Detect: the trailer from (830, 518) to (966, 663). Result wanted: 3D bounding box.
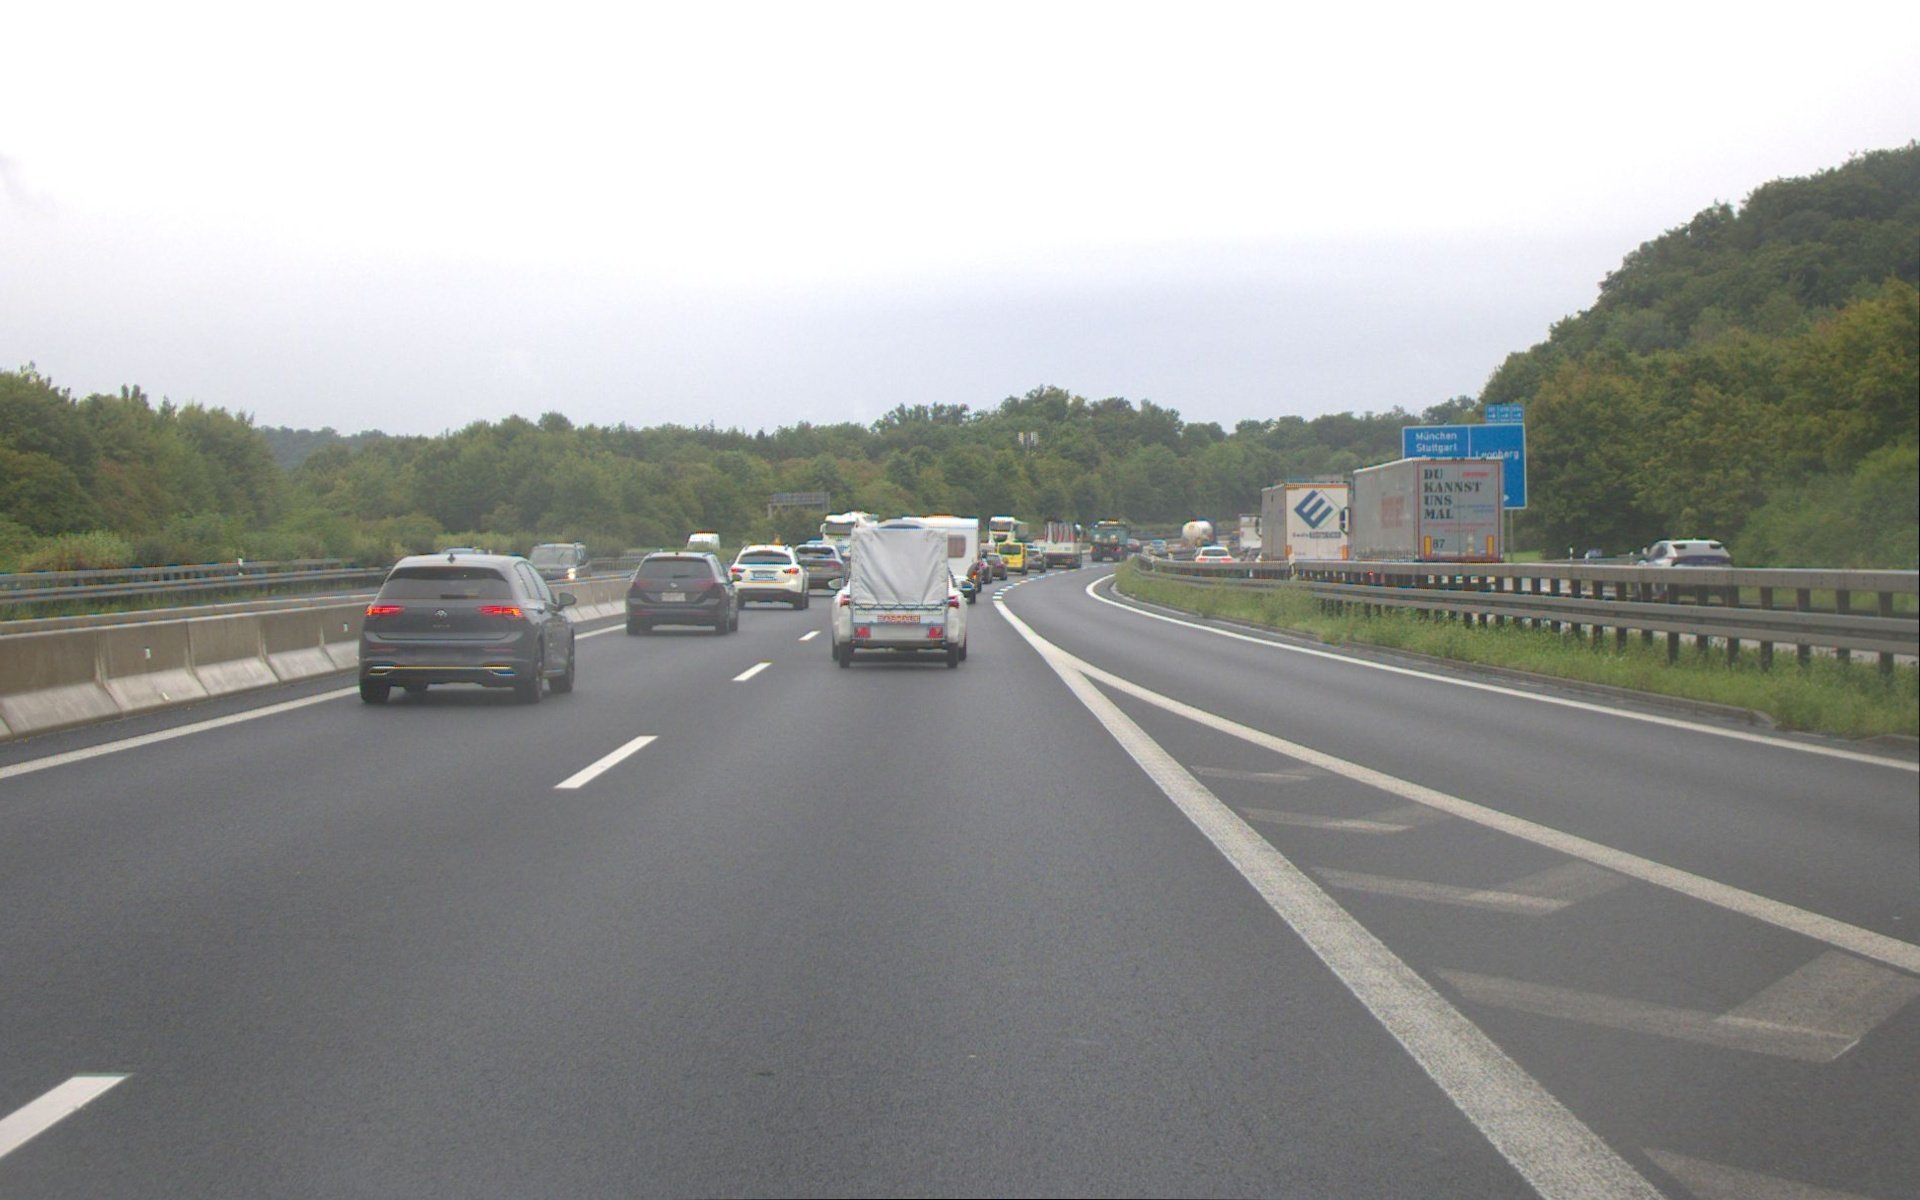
[{"bbox_3d":[-0.776,-0.147,45.161,1.676,1.806,4.000,0,1,0],"label":"trailer"}]

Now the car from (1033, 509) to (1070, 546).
[{"bbox_3d":[6.574,-5.171,246.962,2.516,2.566,5.311,1,1,3],"label":"car"}]

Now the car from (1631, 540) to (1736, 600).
[{"bbox_3d":[17.951,-0.754,85.459,1.675,1.451,4.000,0,1,-1],"label":"car"}]

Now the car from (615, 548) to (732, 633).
[{"bbox_3d":[-5.080,-0.180,61.447,1.765,1.451,4.000,0,1,0],"label":"car"}]

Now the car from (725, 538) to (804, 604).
[{"bbox_3d":[-4.977,-0.757,87.898,1.775,1.634,4.043,0,1,0],"label":"car"}]

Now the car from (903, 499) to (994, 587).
[{"bbox_3d":[-0.313,-1.710,104.052,2.507,2.576,5.699,1,1,2],"label":"car"}]

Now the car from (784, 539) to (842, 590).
[{"bbox_3d":[-4.837,-1.162,113.568,1.775,1.634,4.043,0,1,0],"label":"car"}]

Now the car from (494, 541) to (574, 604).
[{"bbox_3d":[-13.797,-0.903,111.690,1.993,2.007,4.983,0,1,0],"label":"car"}]

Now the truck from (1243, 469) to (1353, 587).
[{"bbox_3d":[13.906,-2.914,142.409,3.215,4.650,13.033,0,1,0],"label":"truck"}]

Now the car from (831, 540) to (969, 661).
[{"bbox_3d":[-0.802,-0.024,48.648,1.818,1.610,4.778,0,1,0],"label":"car"}]

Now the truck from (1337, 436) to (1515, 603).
[{"bbox_3d":[13.741,-2.329,102.634,3.215,4.650,13.033,0,1,-1],"label":"truck"}]

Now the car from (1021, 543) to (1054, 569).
[{"bbox_3d":[5.008,-2.823,221.668,2.037,1.677,4.000,1,1,3],"label":"car"}]

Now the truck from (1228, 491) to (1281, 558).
[{"bbox_3d":[20.985,-5.315,245.175,3.663,4.650,13.030,1,1,5],"label":"truck"}]

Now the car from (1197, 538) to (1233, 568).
[{"bbox_3d":[12.217,-2.249,164.994,1.676,1.451,4.000,1,1,4],"label":"car"}]

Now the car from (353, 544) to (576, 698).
[{"bbox_3d":[-4.931,0.176,34.668,1.676,1.451,4.000,0,1,0],"label":"car"}]

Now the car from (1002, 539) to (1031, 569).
[{"bbox_3d":[3.439,-2.777,207.627,1.676,1.806,4.000,1,1,2],"label":"car"}]

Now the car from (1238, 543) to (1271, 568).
[{"bbox_3d":[17.081,-2.589,199.449,1.676,1.451,4.000,1,1,1],"label":"car"}]

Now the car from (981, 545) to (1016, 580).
[{"bbox_3d":[2.026,-1.973,180.035,1.676,1.806,4.000,1,1,2],"label":"car"}]

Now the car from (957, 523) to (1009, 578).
[{"bbox_3d":[0.877,-1.896,131.525,1.675,2.060,4.001,0,1,-4],"label":"car"}]

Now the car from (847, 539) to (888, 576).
[{"bbox_3d":[-4.243,-1.953,157.907,1.775,1.634,4.043,0,1,0],"label":"car"}]
